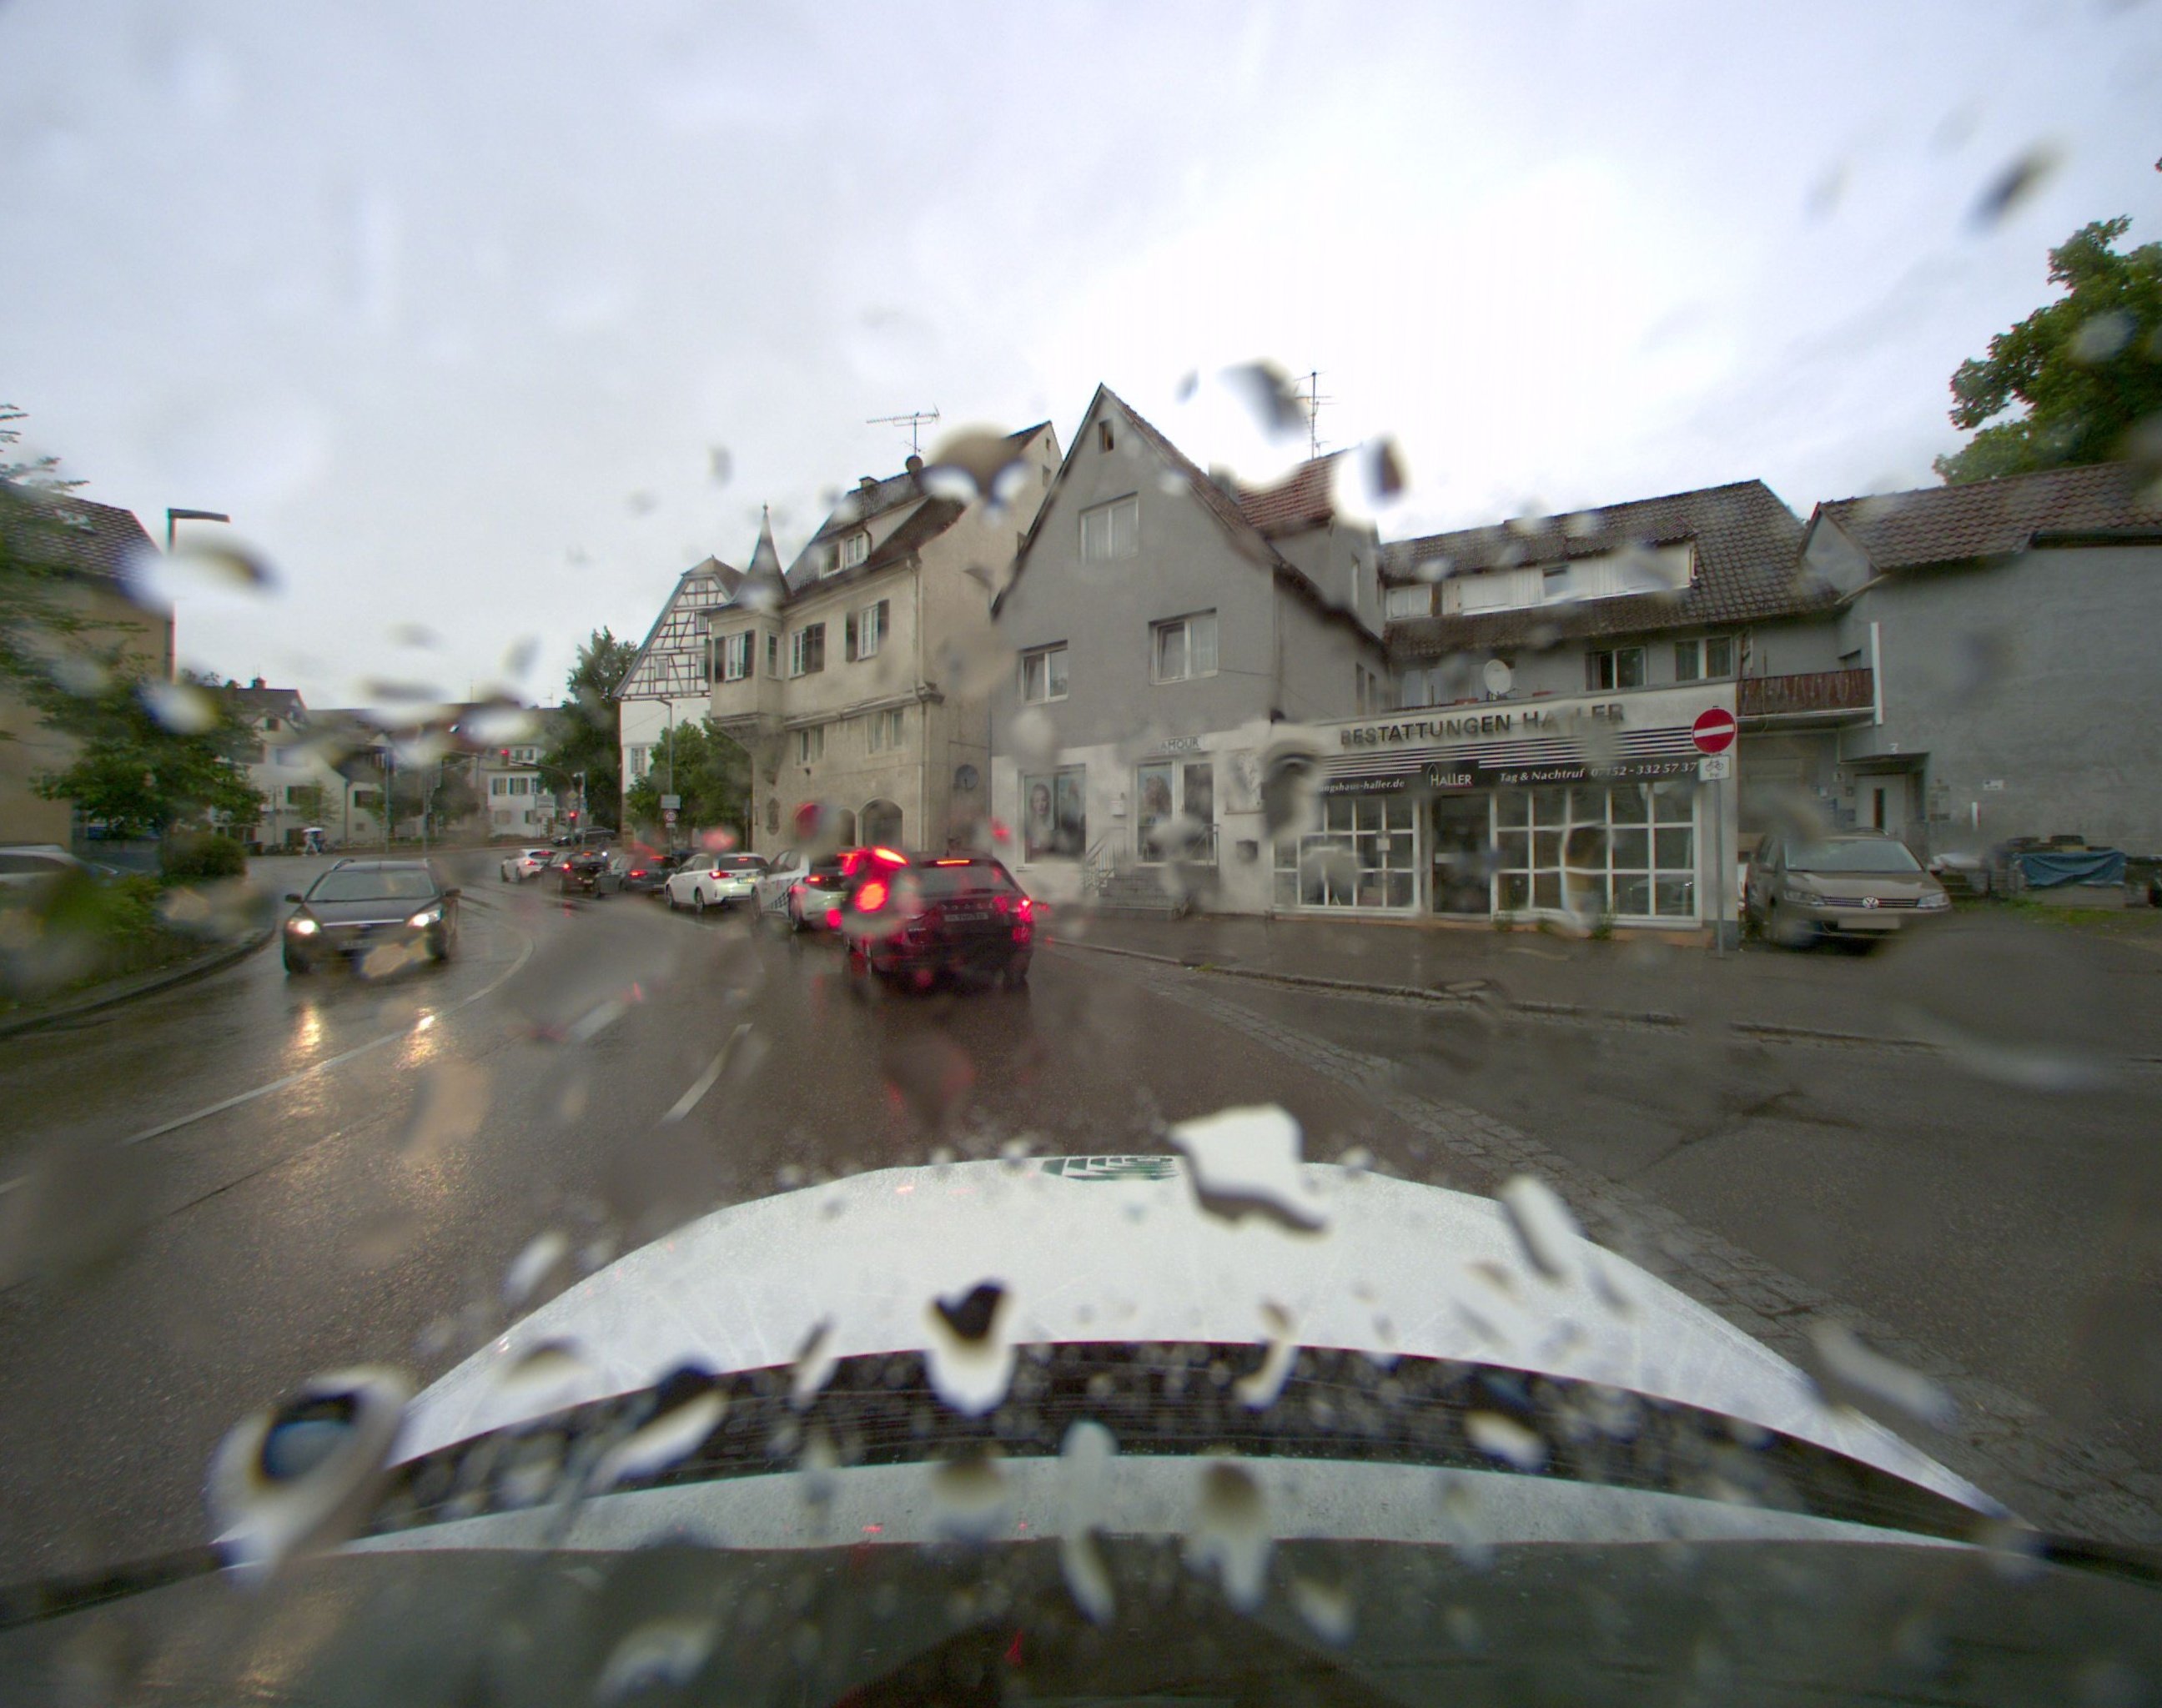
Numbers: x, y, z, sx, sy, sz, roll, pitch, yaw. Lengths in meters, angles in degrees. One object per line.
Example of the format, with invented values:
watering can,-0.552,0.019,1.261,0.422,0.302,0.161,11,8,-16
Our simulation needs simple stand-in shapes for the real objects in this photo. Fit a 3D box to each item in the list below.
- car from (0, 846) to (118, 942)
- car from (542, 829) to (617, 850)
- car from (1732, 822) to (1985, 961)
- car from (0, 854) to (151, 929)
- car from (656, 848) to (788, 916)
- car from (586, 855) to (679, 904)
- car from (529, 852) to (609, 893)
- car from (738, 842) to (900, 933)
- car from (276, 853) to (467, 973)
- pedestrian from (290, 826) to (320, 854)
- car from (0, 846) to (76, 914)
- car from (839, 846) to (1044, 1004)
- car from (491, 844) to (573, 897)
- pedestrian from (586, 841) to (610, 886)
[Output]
car,-20.131,0.727,14.451,1.692,1.685,3.558,0,1,24
car,-37.547,-1.090,61.127,1.632,1.389,4.555,7,3,23
car,11.721,0.401,12.682,1.905,1.727,4.698,-1,2,32
car,-22.244,0.772,16.862,1.692,1.455,3.558,0,1,24
car,-9.144,0.629,20.602,1.801,1.465,4.114,-3,2,-42
car,-14.163,0.745,25.640,3.721,1.361,1.533,1,2,44
car,-18.992,0.639,30.140,3.579,1.312,1.678,1,2,44
car,-5.319,0.581,16.177,1.803,1.517,4.194,-2,1,-36
car,-10.982,0.797,12.914,1.745,1.510,4.227,-2,1,-34
pedestrian,-48.929,-0.904,51.376,1.153,1.742,0.995,-1,0,-31
car,-26.201,0.623,18.721,1.692,1.576,3.558,0,1,24
car,-1.945,0.662,10.161,1.738,1.450,4.212,-2,2,-21
car,-23.527,0.638,34.878,3.911,2.090,1.992,1,2,42
pedestrian,-25.246,0.480,42.570,0.872,2.326,1.216,-1,0,-40
